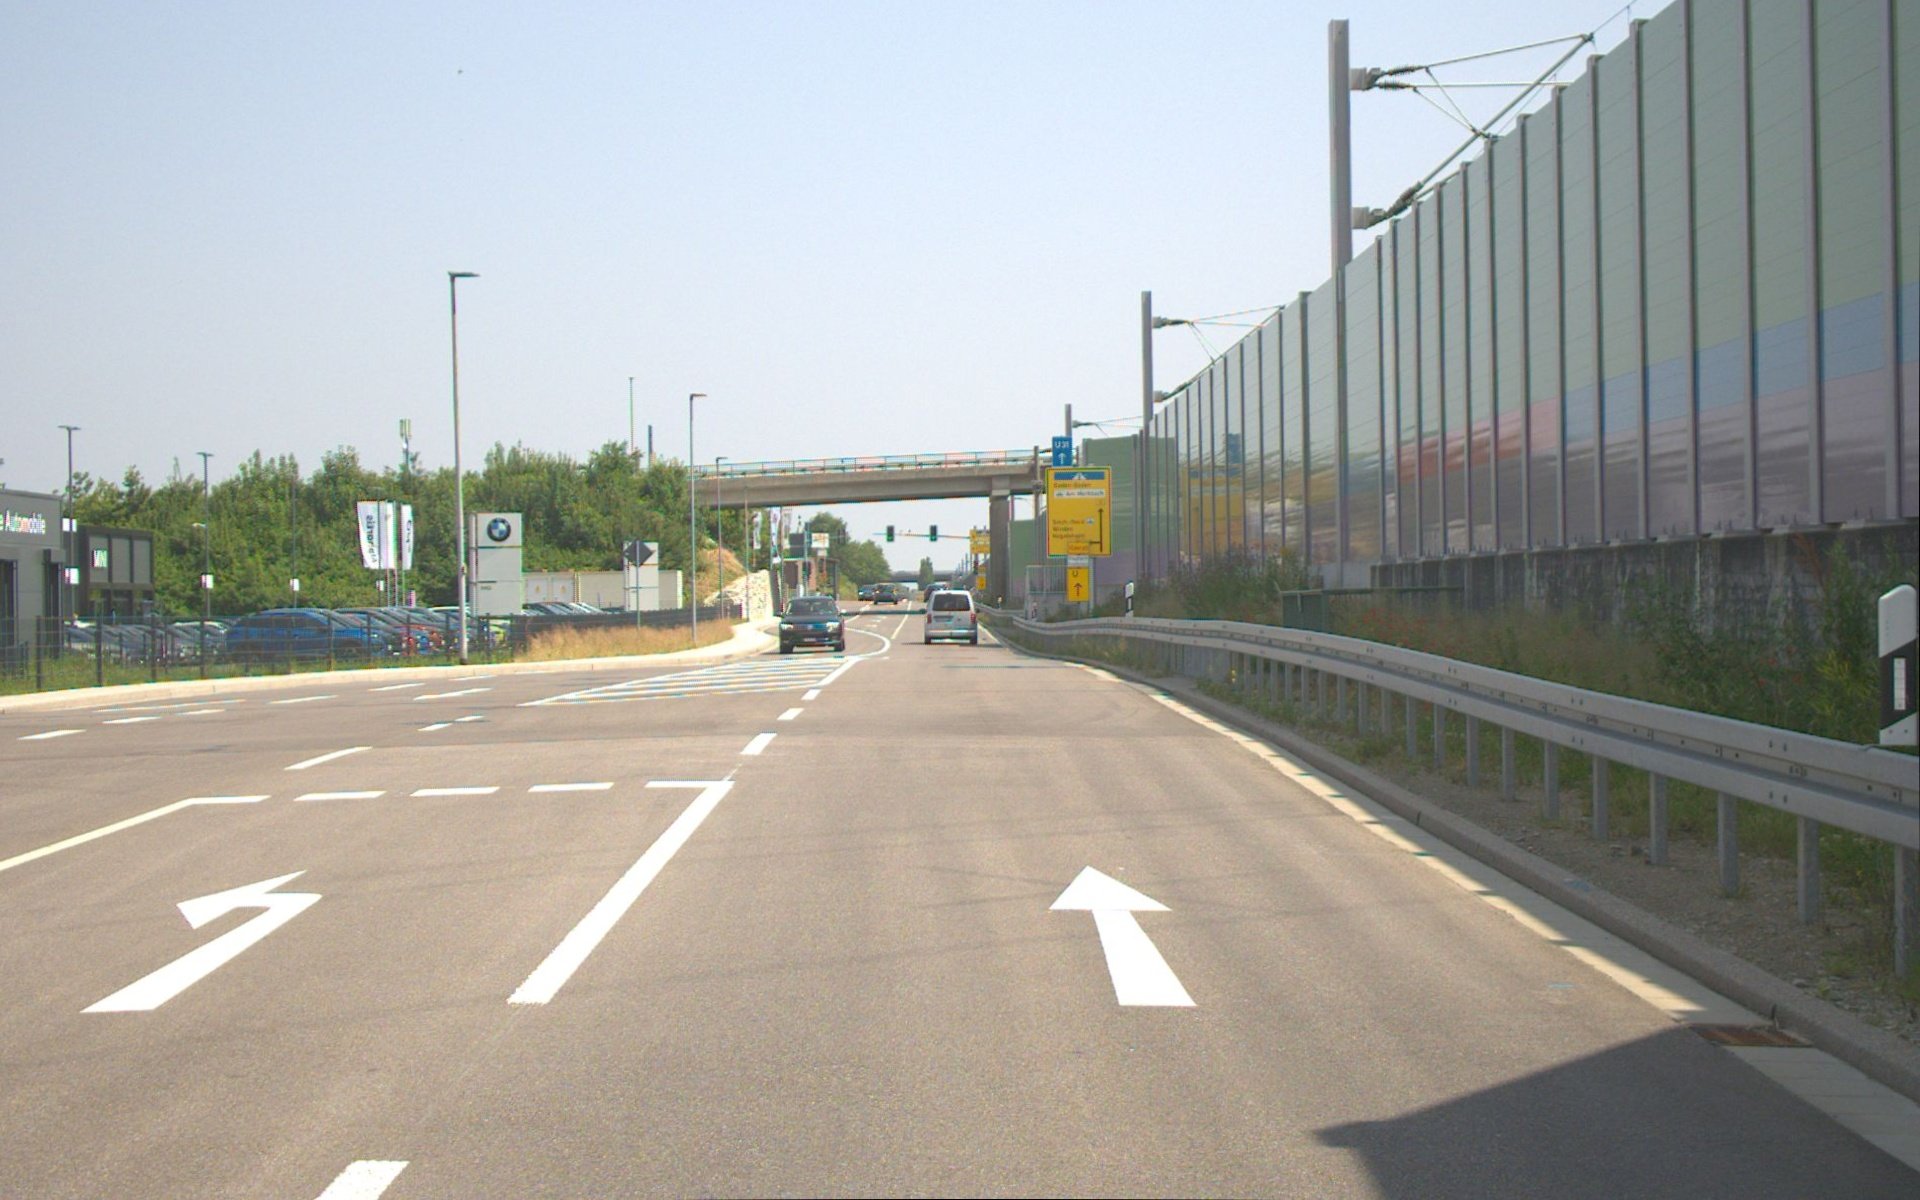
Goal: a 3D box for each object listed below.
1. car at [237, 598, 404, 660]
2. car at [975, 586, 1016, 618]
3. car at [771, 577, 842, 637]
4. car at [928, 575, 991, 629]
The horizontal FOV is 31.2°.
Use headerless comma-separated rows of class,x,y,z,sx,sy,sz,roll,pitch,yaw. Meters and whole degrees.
car,-16.553,0.748,89.116,3.986,1.475,1.911,-1,1,-2
car,1.646,0.098,156.962,1.781,1.411,4.050,-1,0,1
car,-4.511,0.191,101.426,1.877,1.667,4.291,-1,1,0
car,0.009,0.040,114.688,1.993,1.751,4.000,-1,0,1
